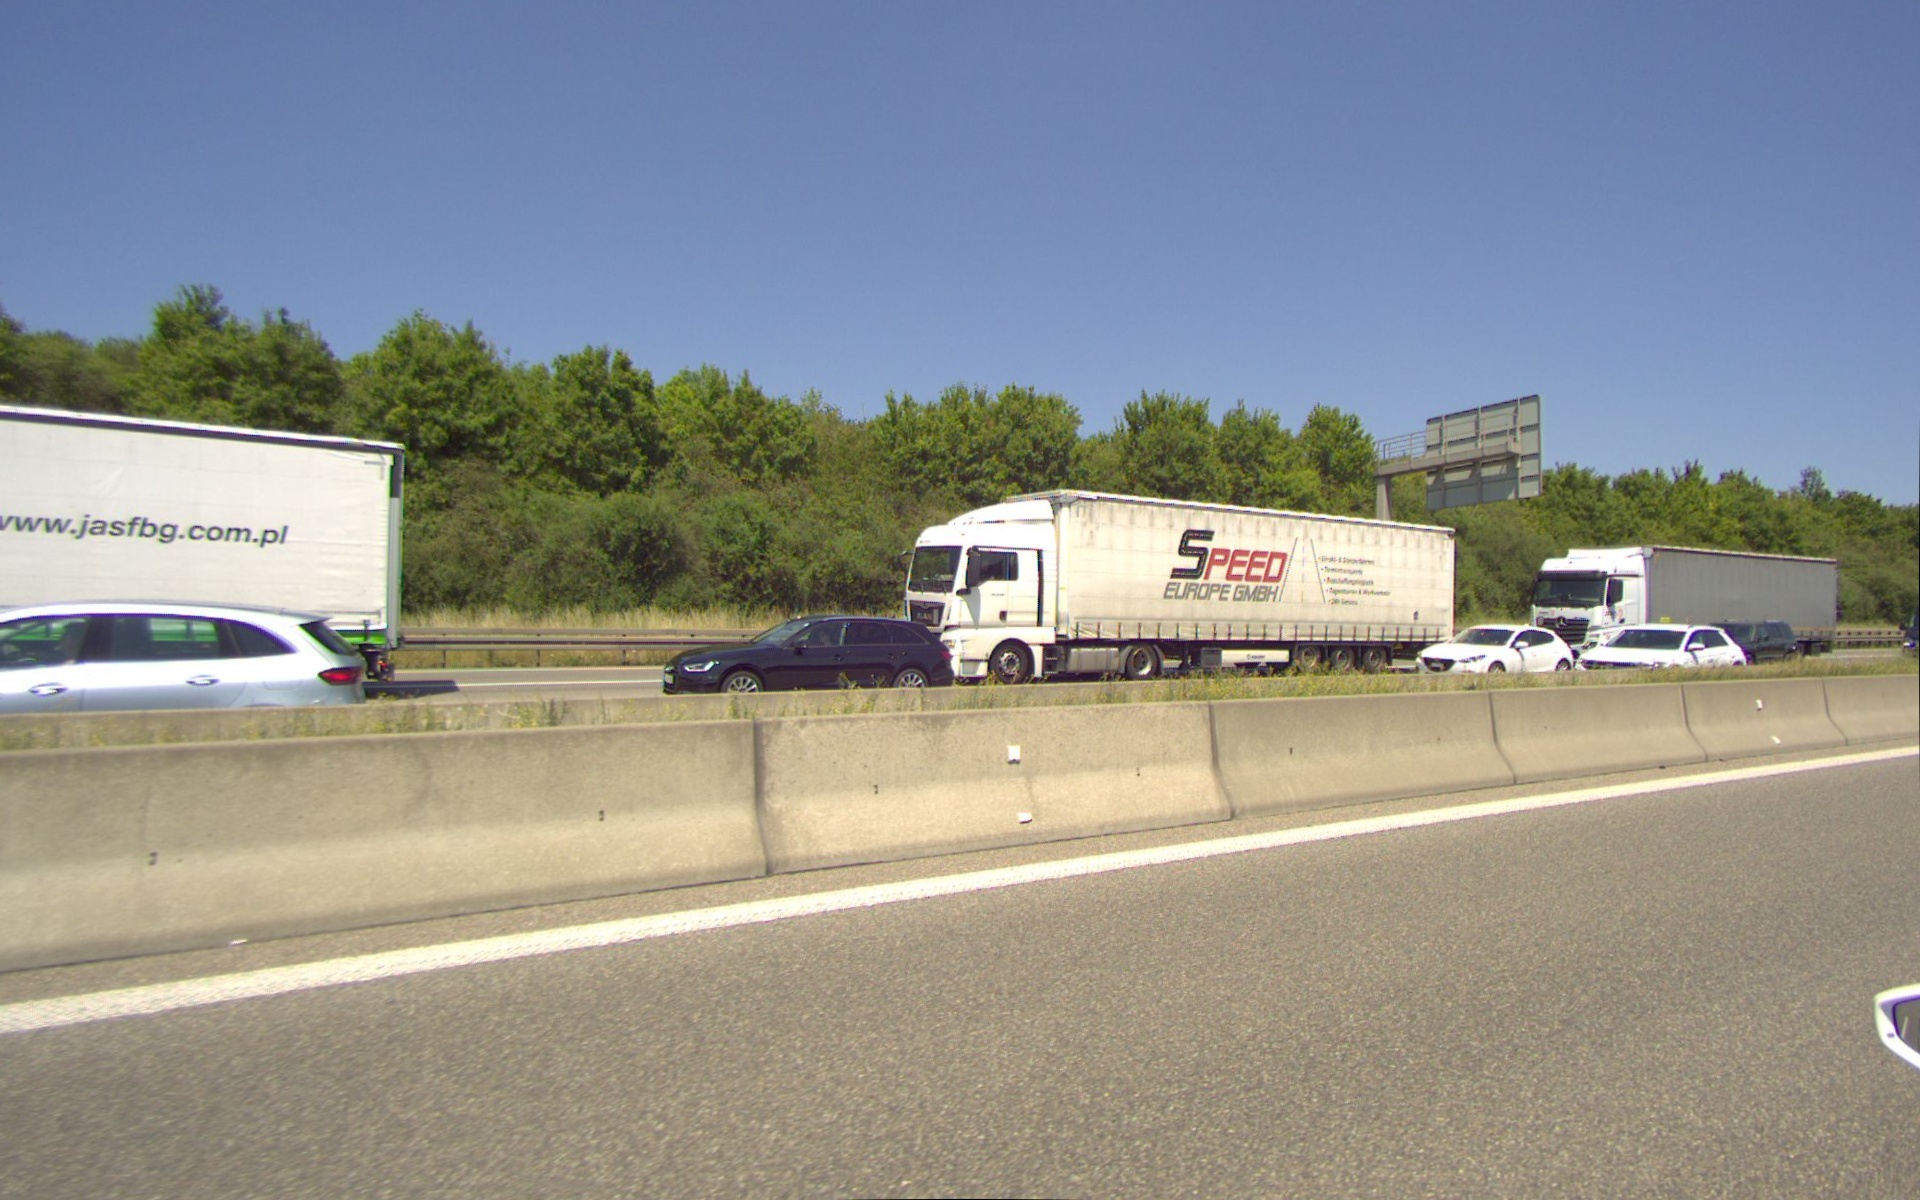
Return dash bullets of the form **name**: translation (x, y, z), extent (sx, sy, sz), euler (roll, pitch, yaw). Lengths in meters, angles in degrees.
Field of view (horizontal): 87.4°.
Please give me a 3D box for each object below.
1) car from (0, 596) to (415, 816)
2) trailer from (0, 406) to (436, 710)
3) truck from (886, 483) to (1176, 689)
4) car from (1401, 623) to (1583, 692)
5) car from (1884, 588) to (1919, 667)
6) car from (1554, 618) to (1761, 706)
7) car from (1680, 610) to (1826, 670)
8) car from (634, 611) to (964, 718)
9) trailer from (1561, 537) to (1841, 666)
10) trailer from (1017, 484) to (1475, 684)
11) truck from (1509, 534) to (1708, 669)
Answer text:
- **car**: translation (-7.162, 0.786, 8.368), extent (4.542, 1.599, 1.984), euler (2, -1, -31)
- **trailer**: translation (-14.732, -0.582, 13.273), extent (13.713, 3.924, 2.889), euler (2, -1, -30)
- **truck**: translation (1.647, -0.230, 22.709), extent (6.028, 4.097, 2.741), euler (1, 0, -31)
- **car**: translation (12.874, 1.365, 24.257), extent (4.355, 1.494, 1.872), euler (2, -1, -30)
- **car**: translation (39.833, 1.087, 40.426), extent (6.477, 3.054, 2.225), euler (1, -1, -32)
- **car**: translation (14.849, 1.281, 21.339), extent (4.356, 1.665, 1.984), euler (2, -1, -31)
- **car**: translation (24.896, 1.243, 31.503), extent (4.735, 1.738, 1.984), euler (1, -1, -30)
- **car**: translation (-2.493, 0.962, 16.038), extent (4.867, 1.453, 1.867), euler (1, 0, -31)
- **trailer**: translation (28.345, 0.201, 38.009), extent (14.021, 4.262, 2.969), euler (1, 0, -29)
- **trailer**: translation (8.022, -0.243, 26.385), extent (13.703, 4.335, 2.798), euler (1, 0, -30)
- **truck**: translation (22.372, 0.113, 34.613), extent (6.521, 4.266, 2.950), euler (1, 0, -28)
